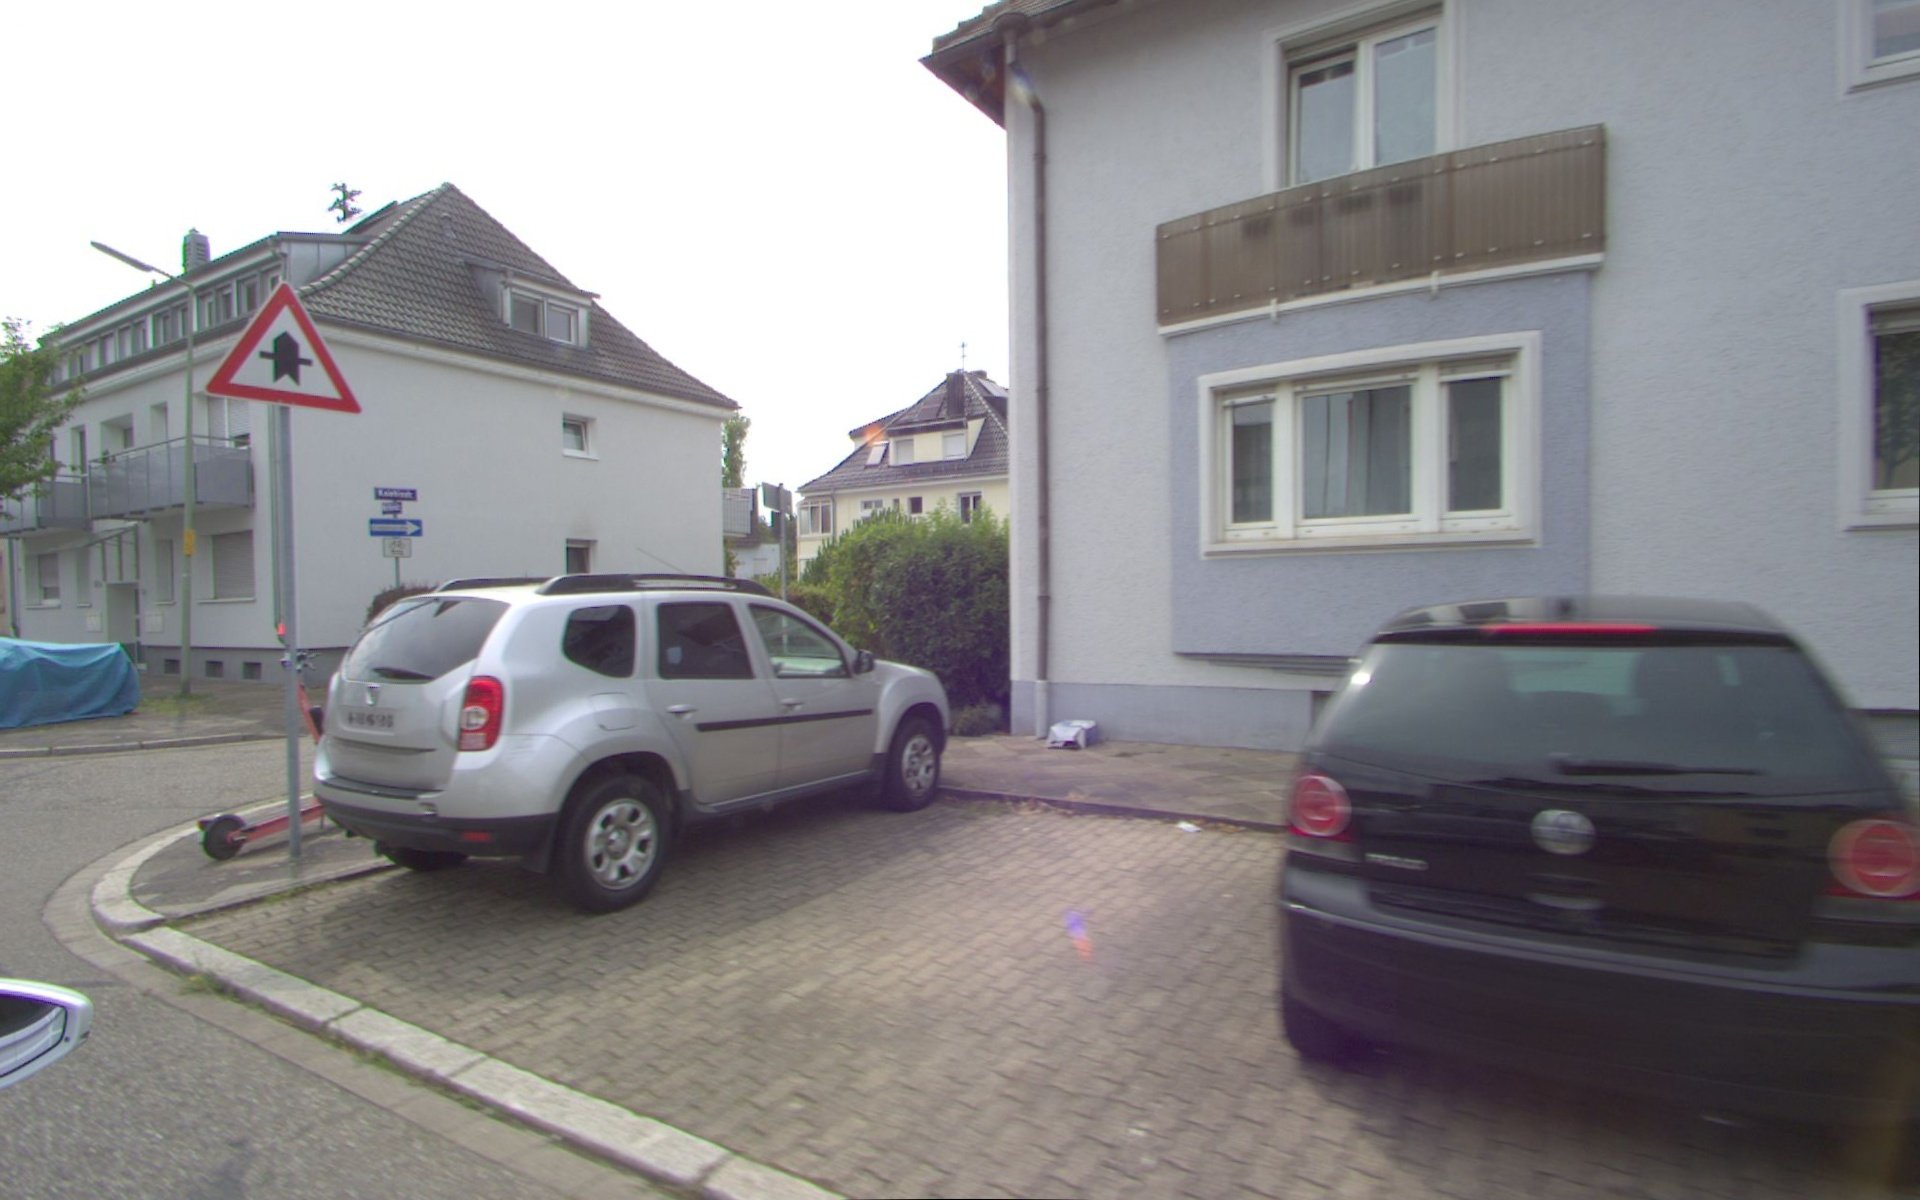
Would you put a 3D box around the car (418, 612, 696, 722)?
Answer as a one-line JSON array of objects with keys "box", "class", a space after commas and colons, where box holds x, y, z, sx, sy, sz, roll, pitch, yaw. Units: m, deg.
[{"box": [-6.154, 0.939, 15.693, 1.640, 1.462, 3.793, 0, 0, 33], "class": "car"}]

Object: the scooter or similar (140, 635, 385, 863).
[{"box": [-4.454, 0.895, 6.489, 0.415, 1.260, 1.239, -1, 2, 20], "class": "scooter or similar"}]

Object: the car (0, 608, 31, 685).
[{"box": [-20.827, 1.009, 19.279, 1.698, 1.539, 3.976, 0, 2, 32], "class": "car"}]

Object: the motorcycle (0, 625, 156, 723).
[{"box": [-12.451, 0.973, 13.607, 0.926, 1.226, 2.189, 0, 0, 31], "class": "motorcycle"}]

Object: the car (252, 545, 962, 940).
[{"box": [-1.805, 0.541, 6.332, 1.841, 1.655, 3.914, 0, 2, 32], "class": "car"}]

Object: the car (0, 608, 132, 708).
[{"box": [-14.722, 0.888, 14.579, 1.748, 1.384, 3.736, 0, 2, 33], "class": "car"}]

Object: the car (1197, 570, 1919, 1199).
[{"box": [2.442, 0.644, 4.007, 1.688, 1.441, 3.976, 0, 2, 33], "class": "car"}]

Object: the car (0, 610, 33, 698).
[{"box": [-17.071, 0.950, 15.636, 1.537, 1.431, 3.508, 0, 2, 33], "class": "car"}]
